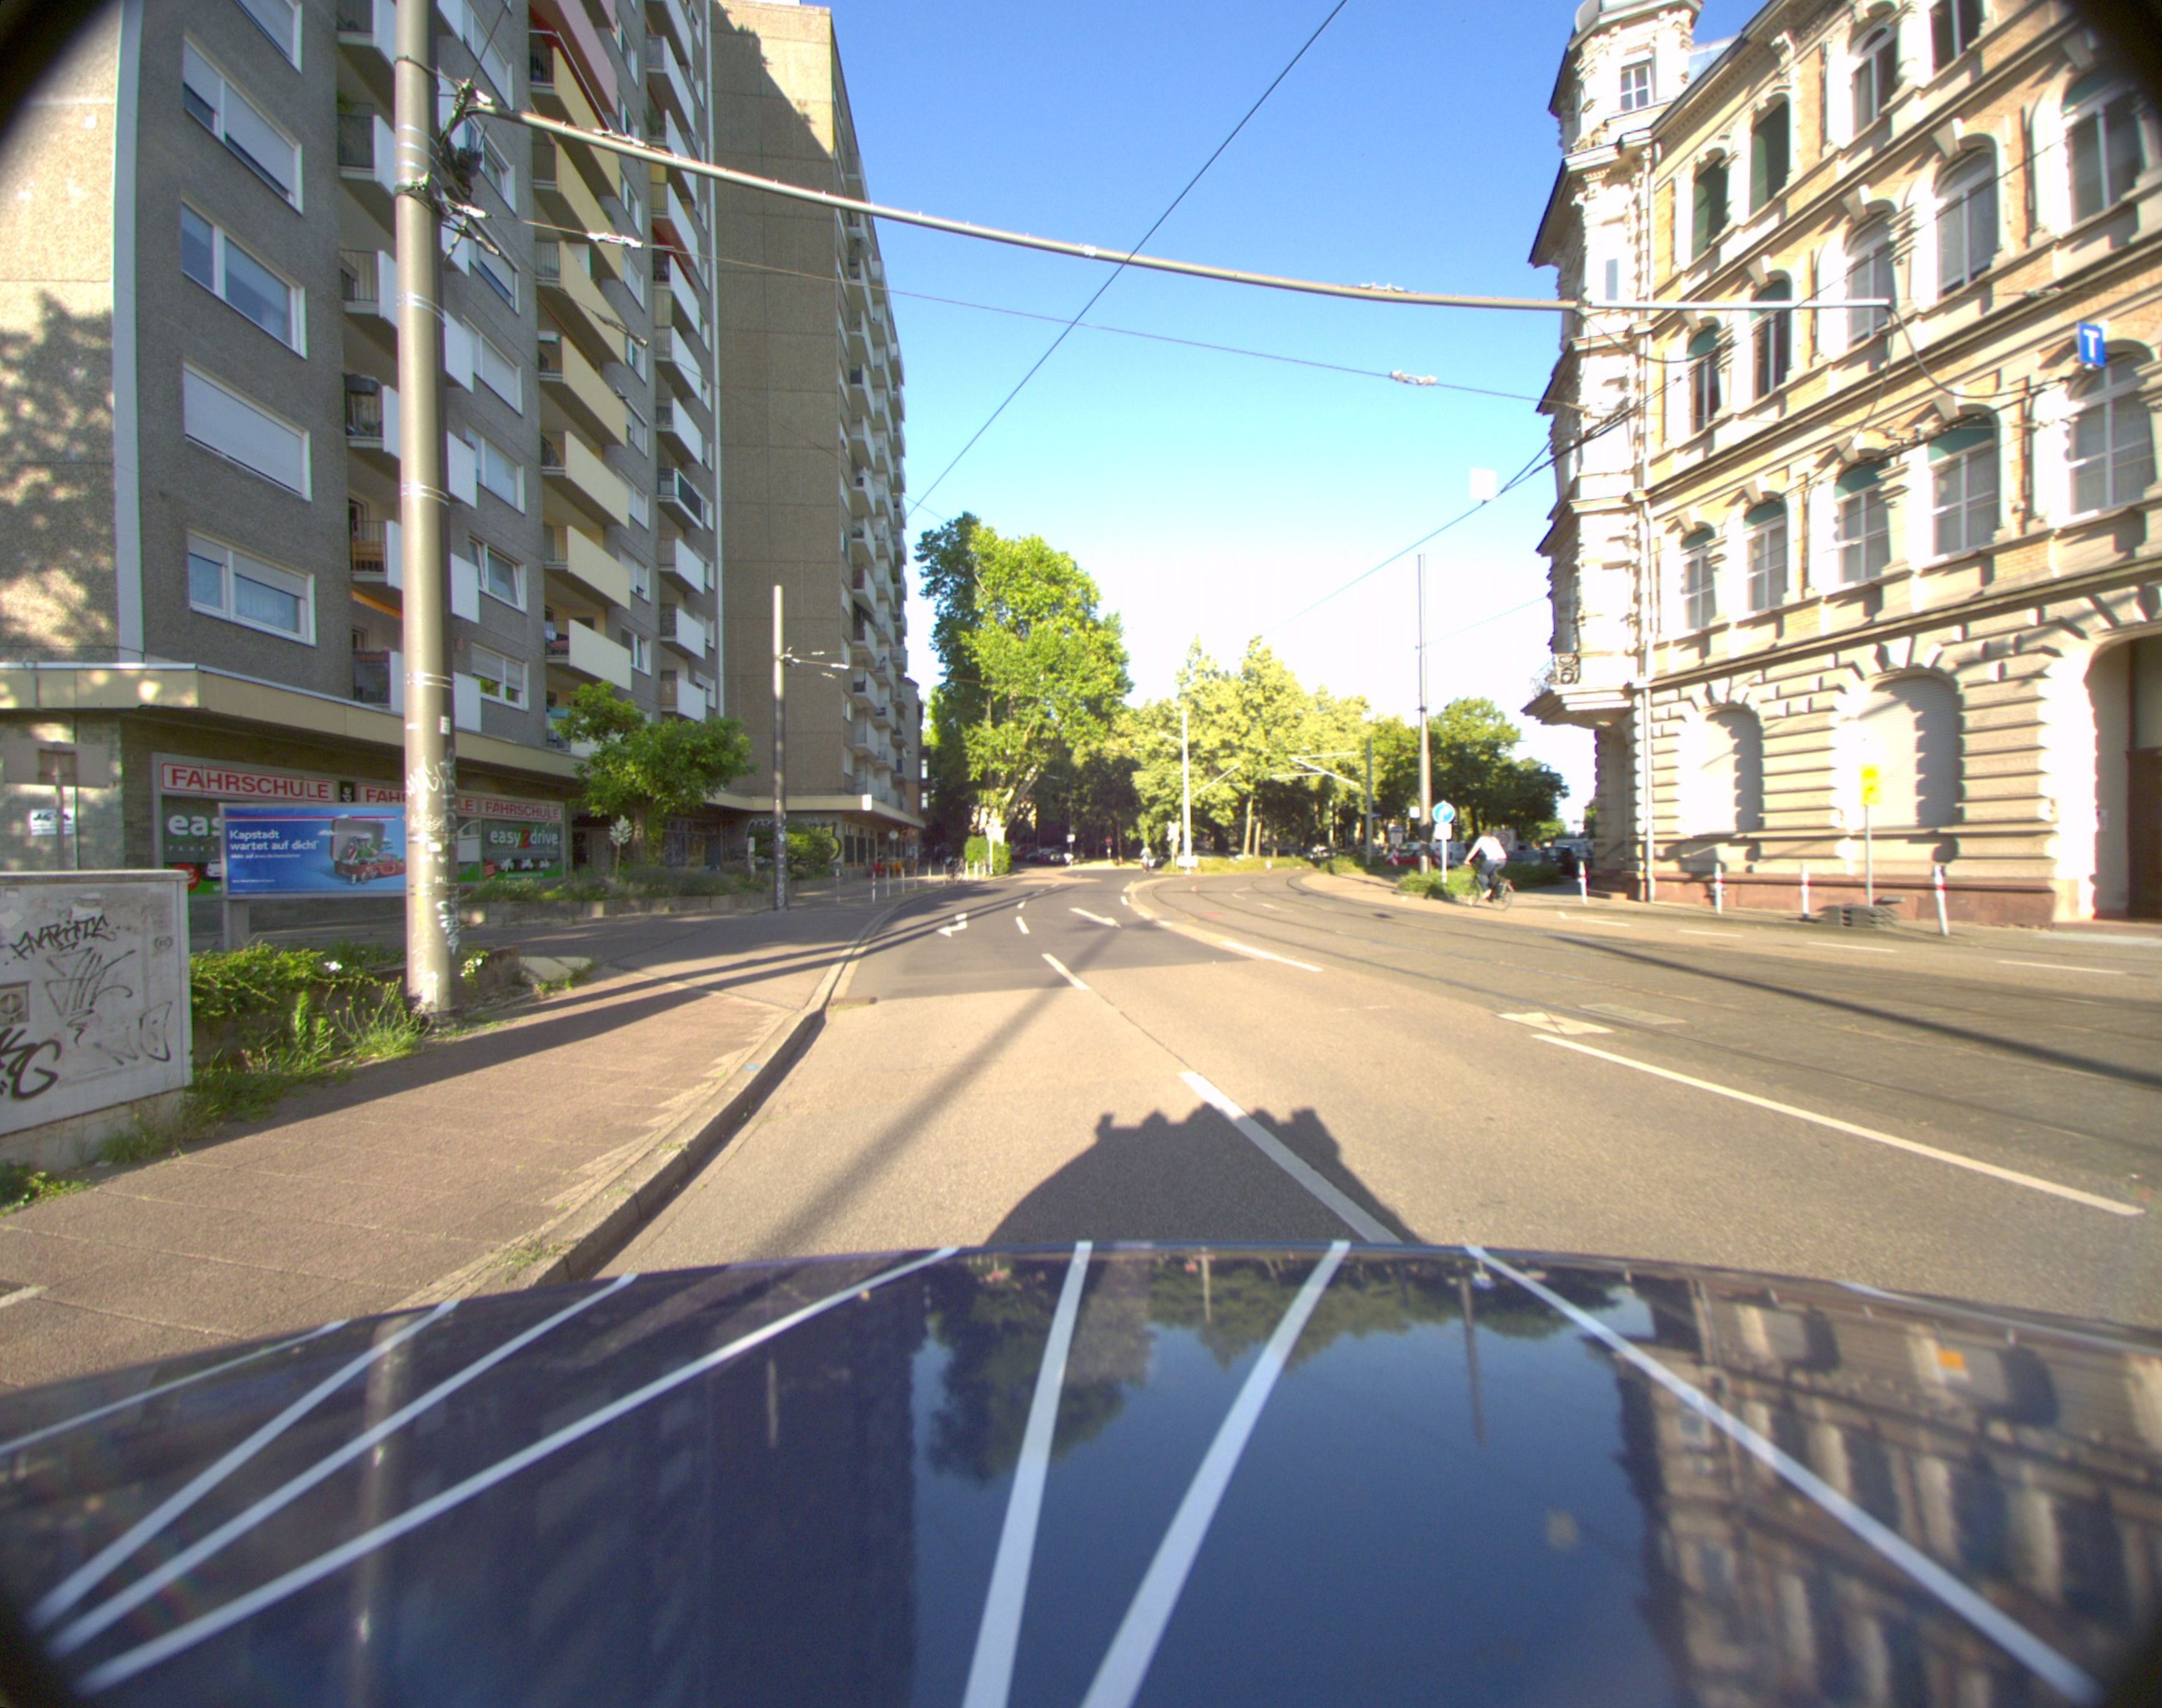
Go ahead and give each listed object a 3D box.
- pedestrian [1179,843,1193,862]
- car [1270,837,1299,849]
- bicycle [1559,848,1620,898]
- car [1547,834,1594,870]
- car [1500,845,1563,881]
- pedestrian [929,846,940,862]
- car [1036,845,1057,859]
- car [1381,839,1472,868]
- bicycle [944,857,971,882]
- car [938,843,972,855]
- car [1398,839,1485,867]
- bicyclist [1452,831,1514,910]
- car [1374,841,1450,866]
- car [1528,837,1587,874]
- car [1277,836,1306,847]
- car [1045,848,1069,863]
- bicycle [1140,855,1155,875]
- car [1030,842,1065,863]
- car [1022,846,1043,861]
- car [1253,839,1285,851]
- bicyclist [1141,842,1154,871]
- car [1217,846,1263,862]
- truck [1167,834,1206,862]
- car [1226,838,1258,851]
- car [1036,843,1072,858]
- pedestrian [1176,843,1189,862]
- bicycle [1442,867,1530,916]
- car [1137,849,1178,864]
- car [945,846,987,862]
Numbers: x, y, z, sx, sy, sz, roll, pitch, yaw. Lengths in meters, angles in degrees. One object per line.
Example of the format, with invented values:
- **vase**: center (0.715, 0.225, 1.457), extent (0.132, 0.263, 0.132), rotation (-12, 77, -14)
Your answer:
- **pedestrian**: center (9.837, -0.118, 71.122), extent (0.890, 1.758, 0.828), rotation (-1, 1, -32)
- **car**: center (31.407, -1.705, 117.199), extent (1.889, 1.740, 3.989), rotation (-1, 1, -38)
- **bicycle**: center (14.008, 0.491, 20.896), extent (2.693, 1.259, 0.643), rotation (-1, 1, -40)
- **car**: center (28.990, -0.133, 44.931), extent (1.994, 2.002, 4.645), rotation (0, 1, 37)
- **car**: center (19.416, 0.358, 32.695), extent (1.733, 1.406, 3.441), rotation (0, 1, 42)
- **pedestrian**: center (-18.563, 0.055, 96.347), extent (1.214, 2.002, 1.205), rotation (-1, 1, -14)
- **car**: center (-3.821, -0.216, 83.492), extent (1.536, 1.440, 3.922), rotation (-1, 1, -13)
- **car**: center (22.466, -0.052, 49.600), extent (2.004, 1.778, 5.045), rotation (-1, 1, -36)
- **bicycle**: center (-5.894, 0.730, 36.281), extent (0.609, 1.128, 2.282), rotation (-1, 1, 8)
- **car**: center (-15.611, -0.645, 94.256), extent (4.002, 1.499, 1.883), rotation (-1, 1, -16)
- **car**: center (24.703, -0.086, 52.198), extent (2.004, 1.798, 5.045), rotation (-1, 1, -36)
- **bicyclist**: center (9.686, 0.390, 18.341), extent (0.730, 1.829, 1.211), rotation (-1, 0, -10)
- **car**: center (20.871, -0.045, 48.014), extent (1.872, 1.499, 3.989), rotation (-1, 1, -36)
- **car**: center (22.636, 0.058, 36.017), extent (1.733, 1.652, 4.008), rotation (0, 1, 42)
- **car**: center (33.012, -1.927, 119.400), extent (1.889, 1.740, 3.989), rotation (-1, 1, -38)
- **car**: center (-2.455, 0.147, 77.961), extent (1.742, 1.440, 3.626), rotation (-1, 1, -13)
- **bicycle**: center (4.112, 0.658, 47.093), extent (0.611, 1.168, 1.951), rotation (-1, 1, -5)
- **car**: center (-4.005, -0.212, 90.806), extent (3.929, 2.392, 1.533), rotation (-1, 1, -16)
- **car**: center (-6.226, -0.046, 97.179), extent (1.773, 1.846, 4.222), rotation (-1, 1, -16)
- **car**: center (28.402, -1.383, 114.668), extent (2.004, 1.696, 4.345), rotation (-1, 1, -37)
- **bicyclist**: center (4.109, 0.164, 47.147), extent (0.607, 1.753, 1.060), rotation (-1, 1, -5)
- **car**: center (14.130, -0.008, 67.677), extent (1.744, 1.346, 3.678), rotation (-1, 1, -41)
- **truck**: center (10.860, -0.667, 77.906), extent (1.994, 2.767, 4.893), rotation (0, 1, 33)
- **car**: center (22.689, -1.284, 107.125), extent (2.003, 1.740, 4.432), rotation (-1, 1, -31)
- **car**: center (-3.125, -0.423, 88.549), extent (3.929, 1.751, 1.533), rotation (-1, 1, -16)
- **pedestrian**: center (9.590, -0.134, 72.032), extent (0.890, 1.758, 0.828), rotation (-1, 1, -32)
- **bicycle**: center (9.692, 0.874, 18.303), extent (0.729, 1.077, 2.115), rotation (-1, 0, -10)
- **car**: center (7.443, 0.196, 73.570), extent (1.945, 1.390, 4.008), rotation (0, 1, 40)
- **car**: center (-11.775, -0.019, 77.531), extent (4.002, 1.499, 1.883), rotation (-1, 1, -16)
